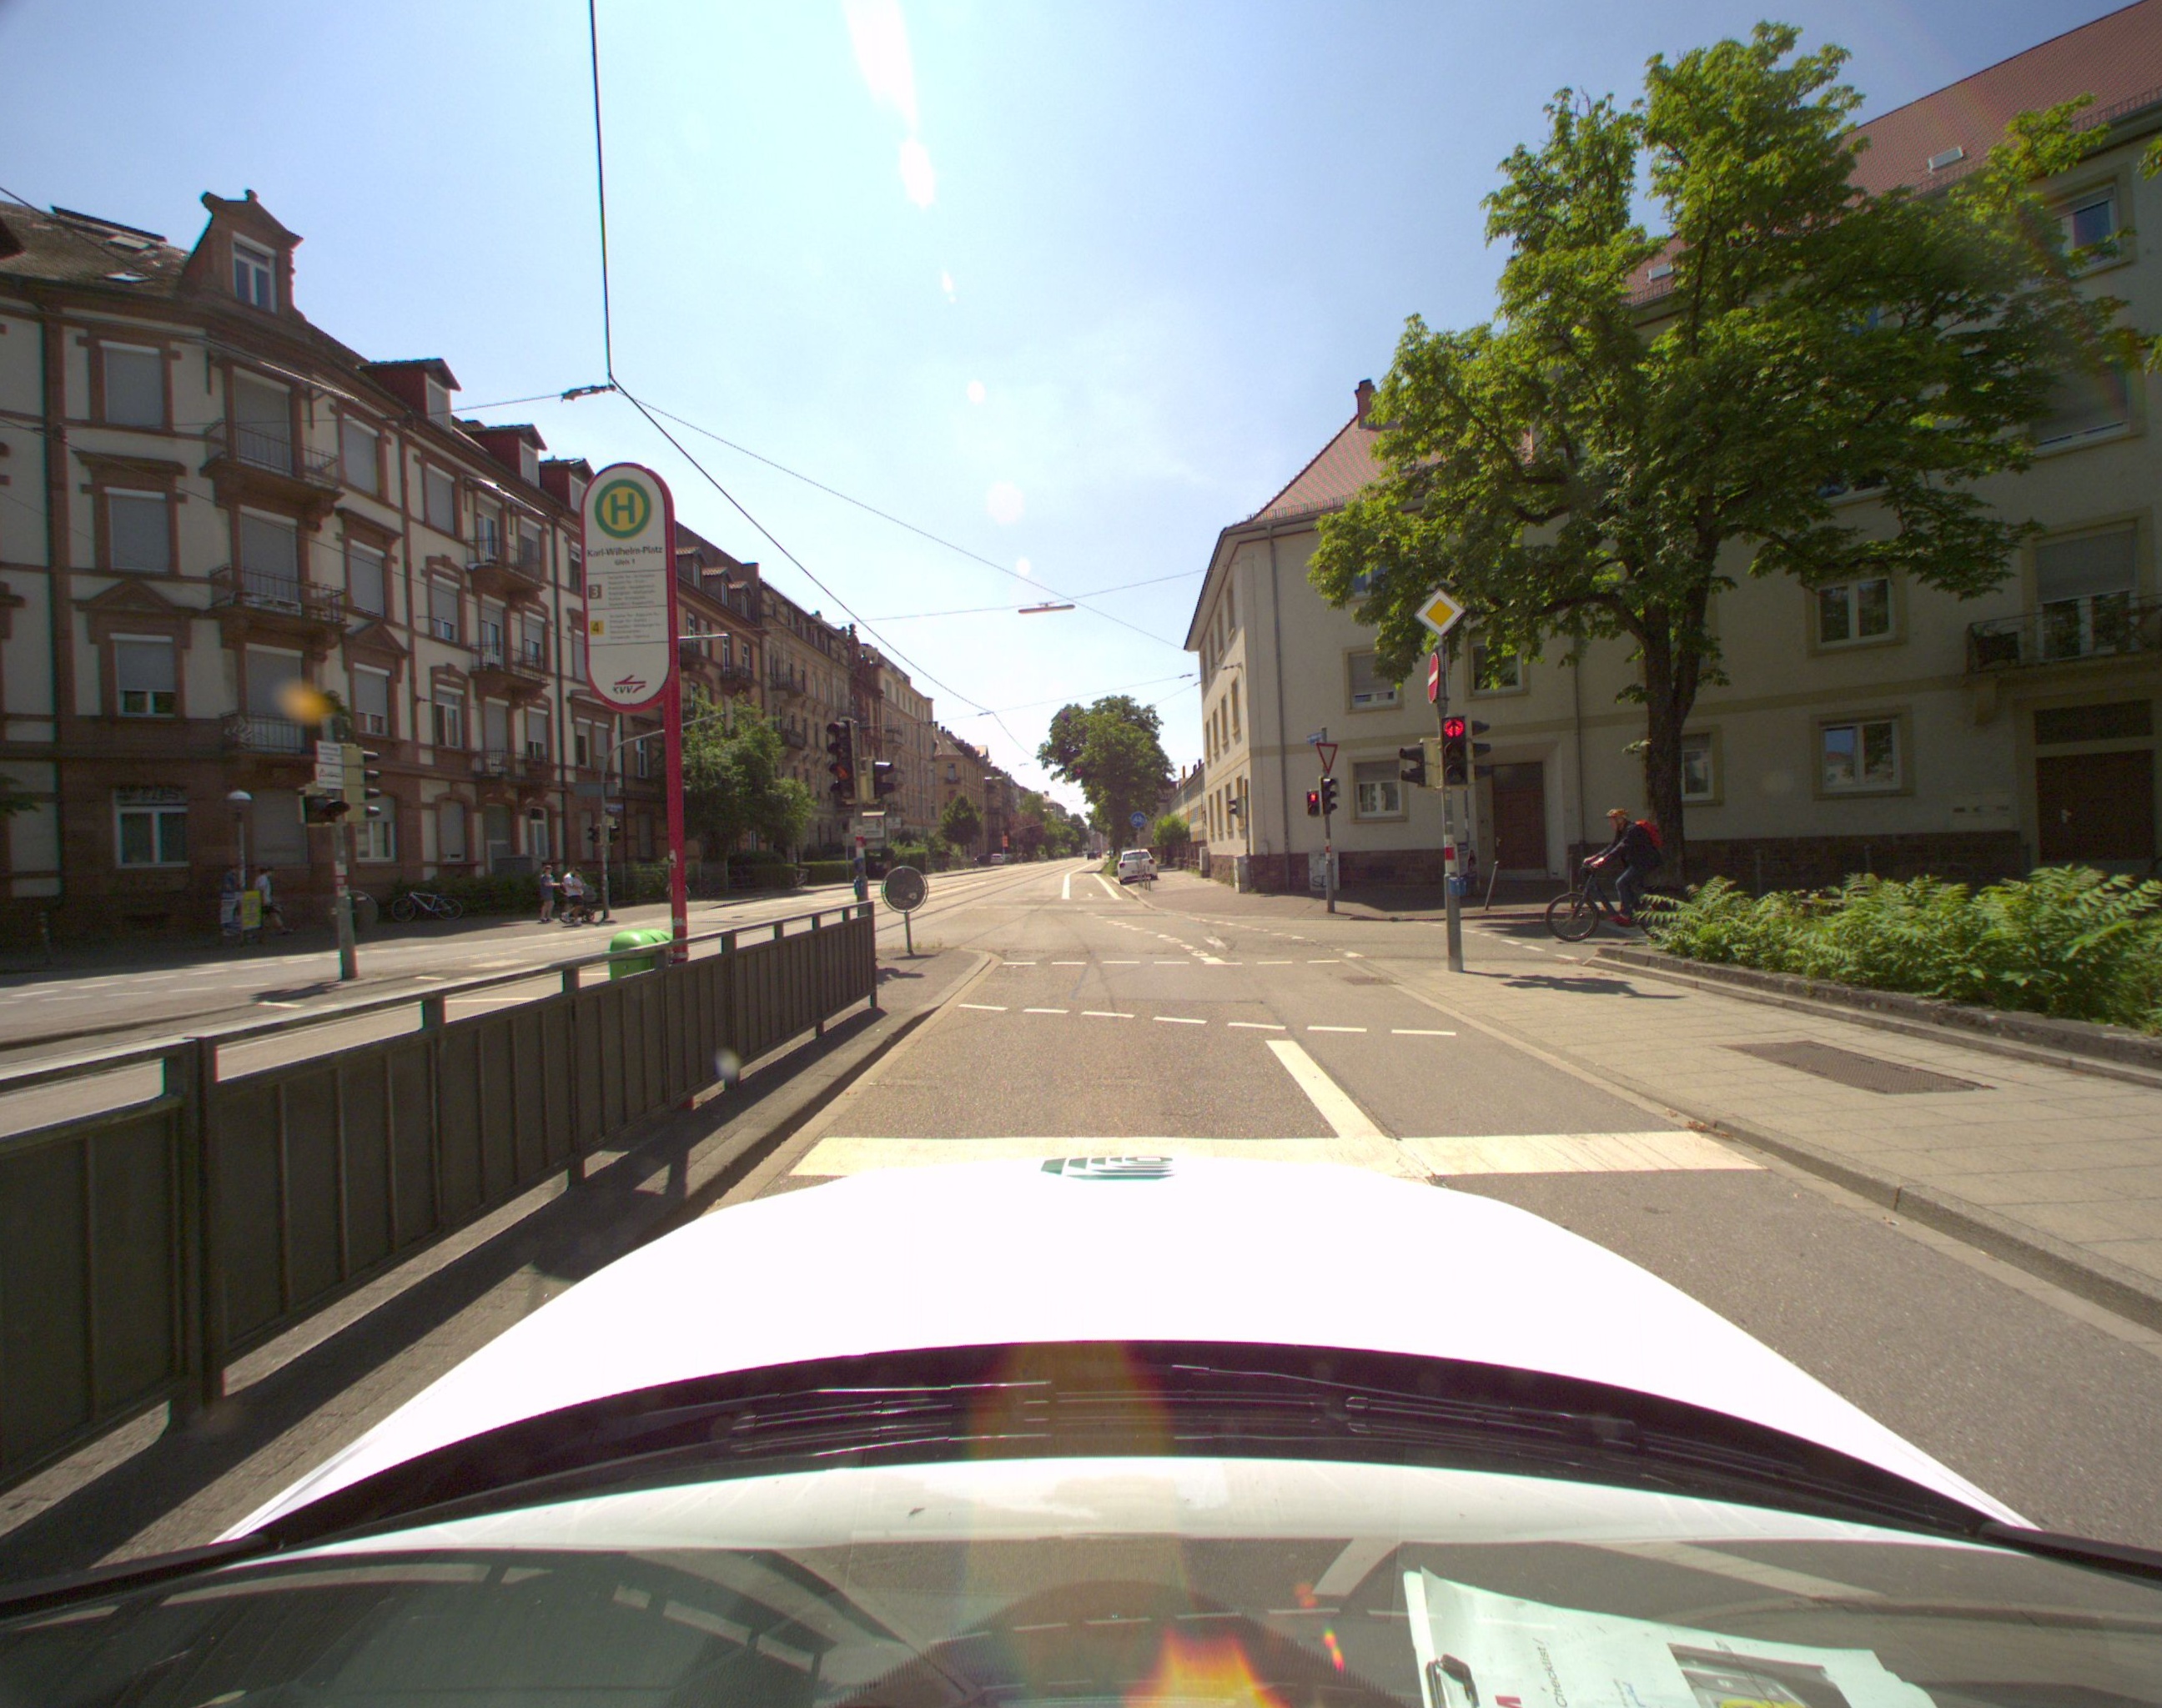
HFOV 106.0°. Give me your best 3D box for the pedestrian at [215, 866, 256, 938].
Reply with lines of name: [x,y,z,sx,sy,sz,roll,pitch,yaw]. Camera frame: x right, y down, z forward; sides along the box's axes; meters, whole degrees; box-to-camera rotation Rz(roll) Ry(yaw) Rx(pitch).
pedestrian: [-21.210,1.189,20.438,0.508,1.768,0.525,-1,-1,-20]

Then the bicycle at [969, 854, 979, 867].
bicycle: [-11.620,0.733,88.460,0.575,1.388,2.502,-1,0,2]

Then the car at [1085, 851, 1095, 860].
car: [1.681,0.259,151.110,1.519,1.444,3.367,-4,0,2]

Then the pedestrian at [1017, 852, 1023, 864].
pedestrian: [-9.226,0.632,123.191,0.675,1.727,0.677,-1,-1,1]

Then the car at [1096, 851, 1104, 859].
car: [4.169,0.233,180.091,1.741,1.472,3.939,-5,0,1]

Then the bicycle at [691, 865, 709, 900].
bicycle: [-15.694,1.143,33.536,0.617,1.395,2.289,-1,0,-24]

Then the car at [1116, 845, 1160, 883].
car: [2.540,0.440,37.271,1.741,1.472,3.939,-5,0,1]

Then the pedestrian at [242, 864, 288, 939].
pedestrian: [-20.451,1.170,20.420,0.565,1.825,0.631,-1,-1,-20]

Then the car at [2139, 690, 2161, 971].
car: [12.481,-0.305,5.906,2.010,2.590,5.784,-2,0,-37]

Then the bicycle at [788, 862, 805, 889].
bicycle: [-14.439,1.079,41.261,0.594,1.356,2.420,-1,0,-24]

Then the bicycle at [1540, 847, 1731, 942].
bicycle: [7.562,0.552,11.202,2.063,1.236,0.583,-2,-1,19]

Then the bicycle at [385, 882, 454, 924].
bicycle: [-19.484,1.428,24.014,1.522,1.169,0.362,-1,1,-25]

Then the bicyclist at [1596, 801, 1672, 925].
bicyclist: [7.581,0.125,11.184,0.688,1.646,0.583,-2,-1,18]

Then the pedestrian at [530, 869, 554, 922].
pedestrian: [-15.885,1.208,23.992,0.510,1.516,0.464,-1,-1,-40]

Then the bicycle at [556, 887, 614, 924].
bicycle: [-14.732,1.517,24.193,1.410,1.013,0.384,-2,0,-39]

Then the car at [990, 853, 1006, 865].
car: [-11.841,0.731,116.204,1.679,1.472,3.937,-5,0,0]

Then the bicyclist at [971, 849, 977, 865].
bicyclist: [-11.641,0.329,88.356,0.540,1.763,0.498,-1,-1,1]

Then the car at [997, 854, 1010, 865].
car: [-11.826,0.816,124.410,1.623,1.472,3.563,-5,0,0]

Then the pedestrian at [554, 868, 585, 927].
pedestrian: [-14.596,1.230,23.239,0.657,1.615,0.464,-1,2,-40]
